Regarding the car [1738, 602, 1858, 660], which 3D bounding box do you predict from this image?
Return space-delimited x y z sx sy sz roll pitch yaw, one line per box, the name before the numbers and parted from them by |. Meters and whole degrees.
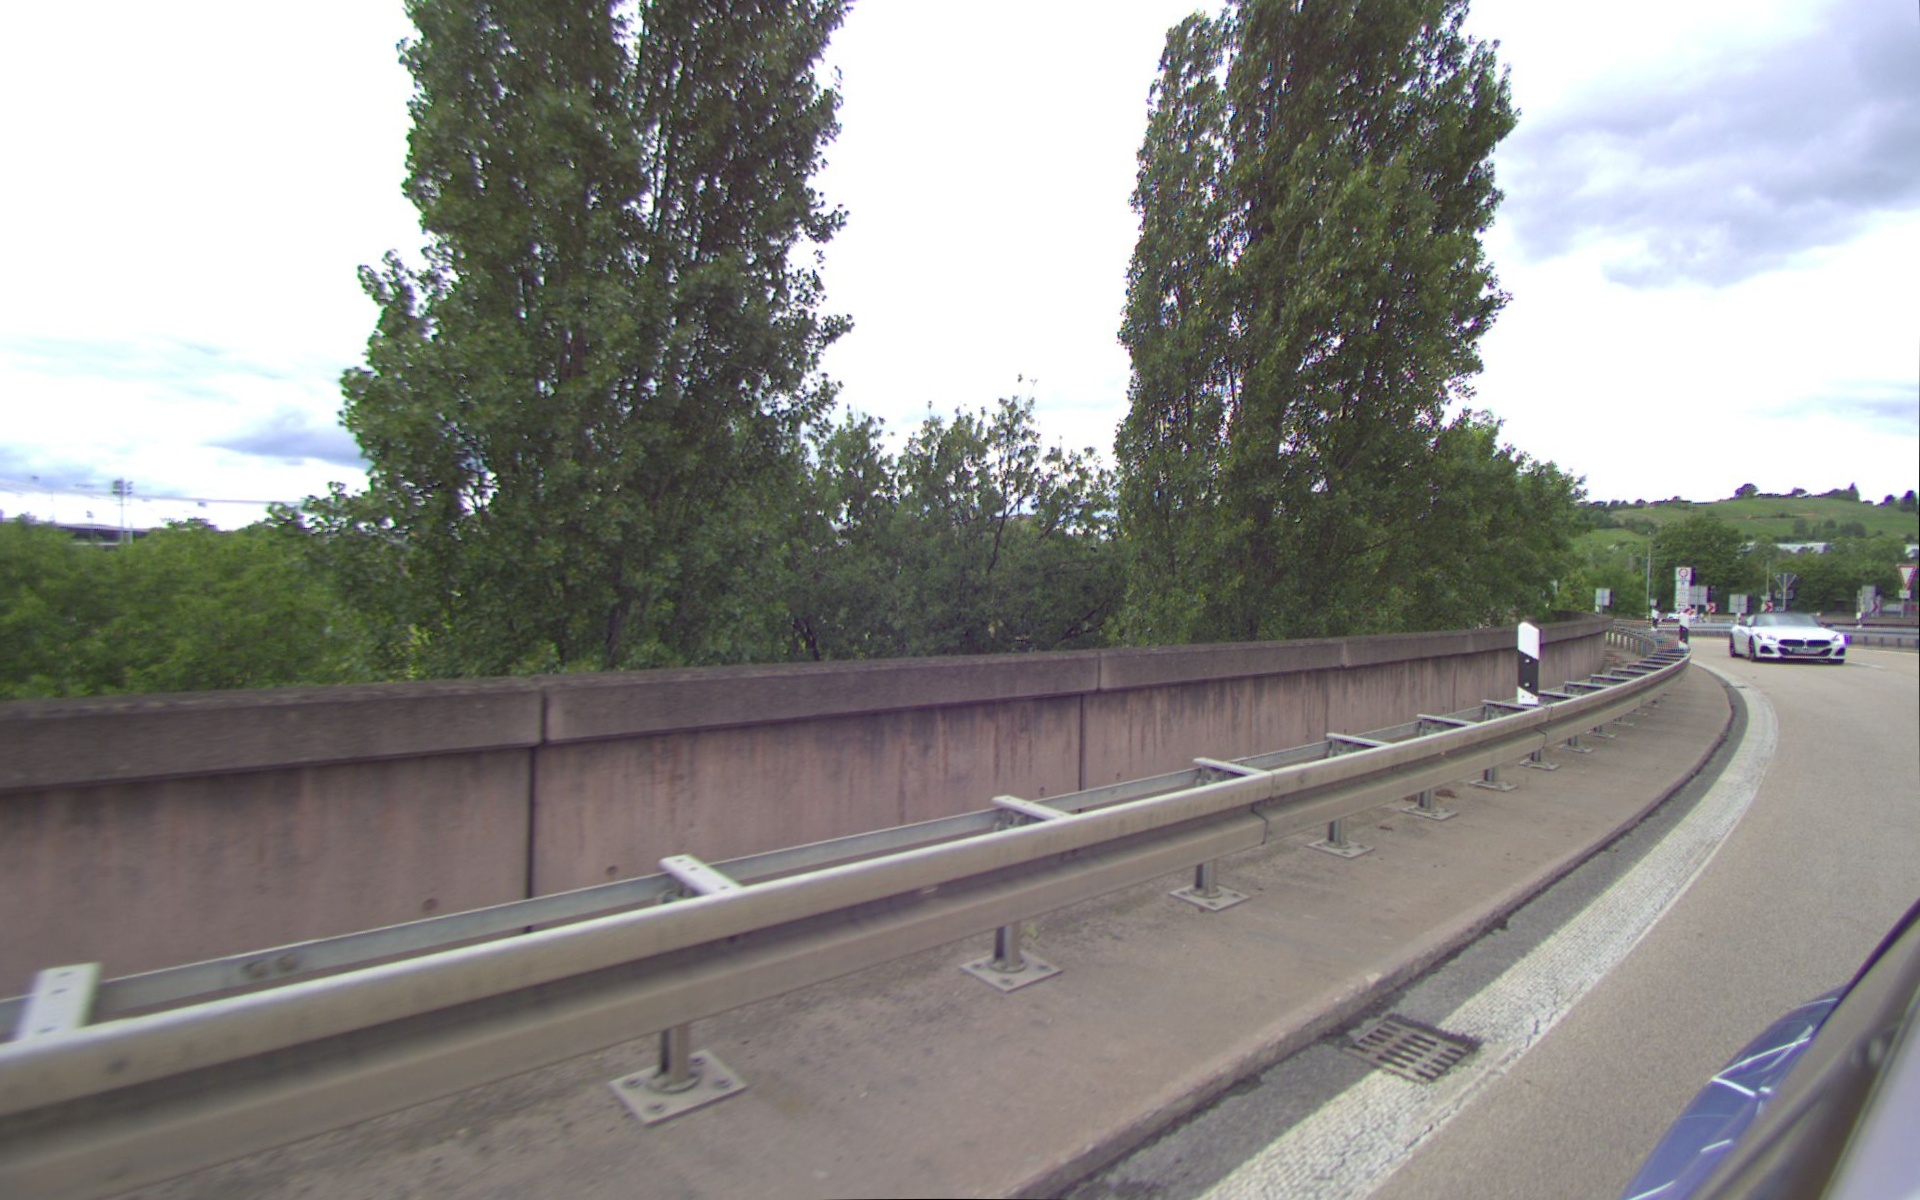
car | 22.068 0.748 26.838 1.850 1.362 4.768 0 0 33
